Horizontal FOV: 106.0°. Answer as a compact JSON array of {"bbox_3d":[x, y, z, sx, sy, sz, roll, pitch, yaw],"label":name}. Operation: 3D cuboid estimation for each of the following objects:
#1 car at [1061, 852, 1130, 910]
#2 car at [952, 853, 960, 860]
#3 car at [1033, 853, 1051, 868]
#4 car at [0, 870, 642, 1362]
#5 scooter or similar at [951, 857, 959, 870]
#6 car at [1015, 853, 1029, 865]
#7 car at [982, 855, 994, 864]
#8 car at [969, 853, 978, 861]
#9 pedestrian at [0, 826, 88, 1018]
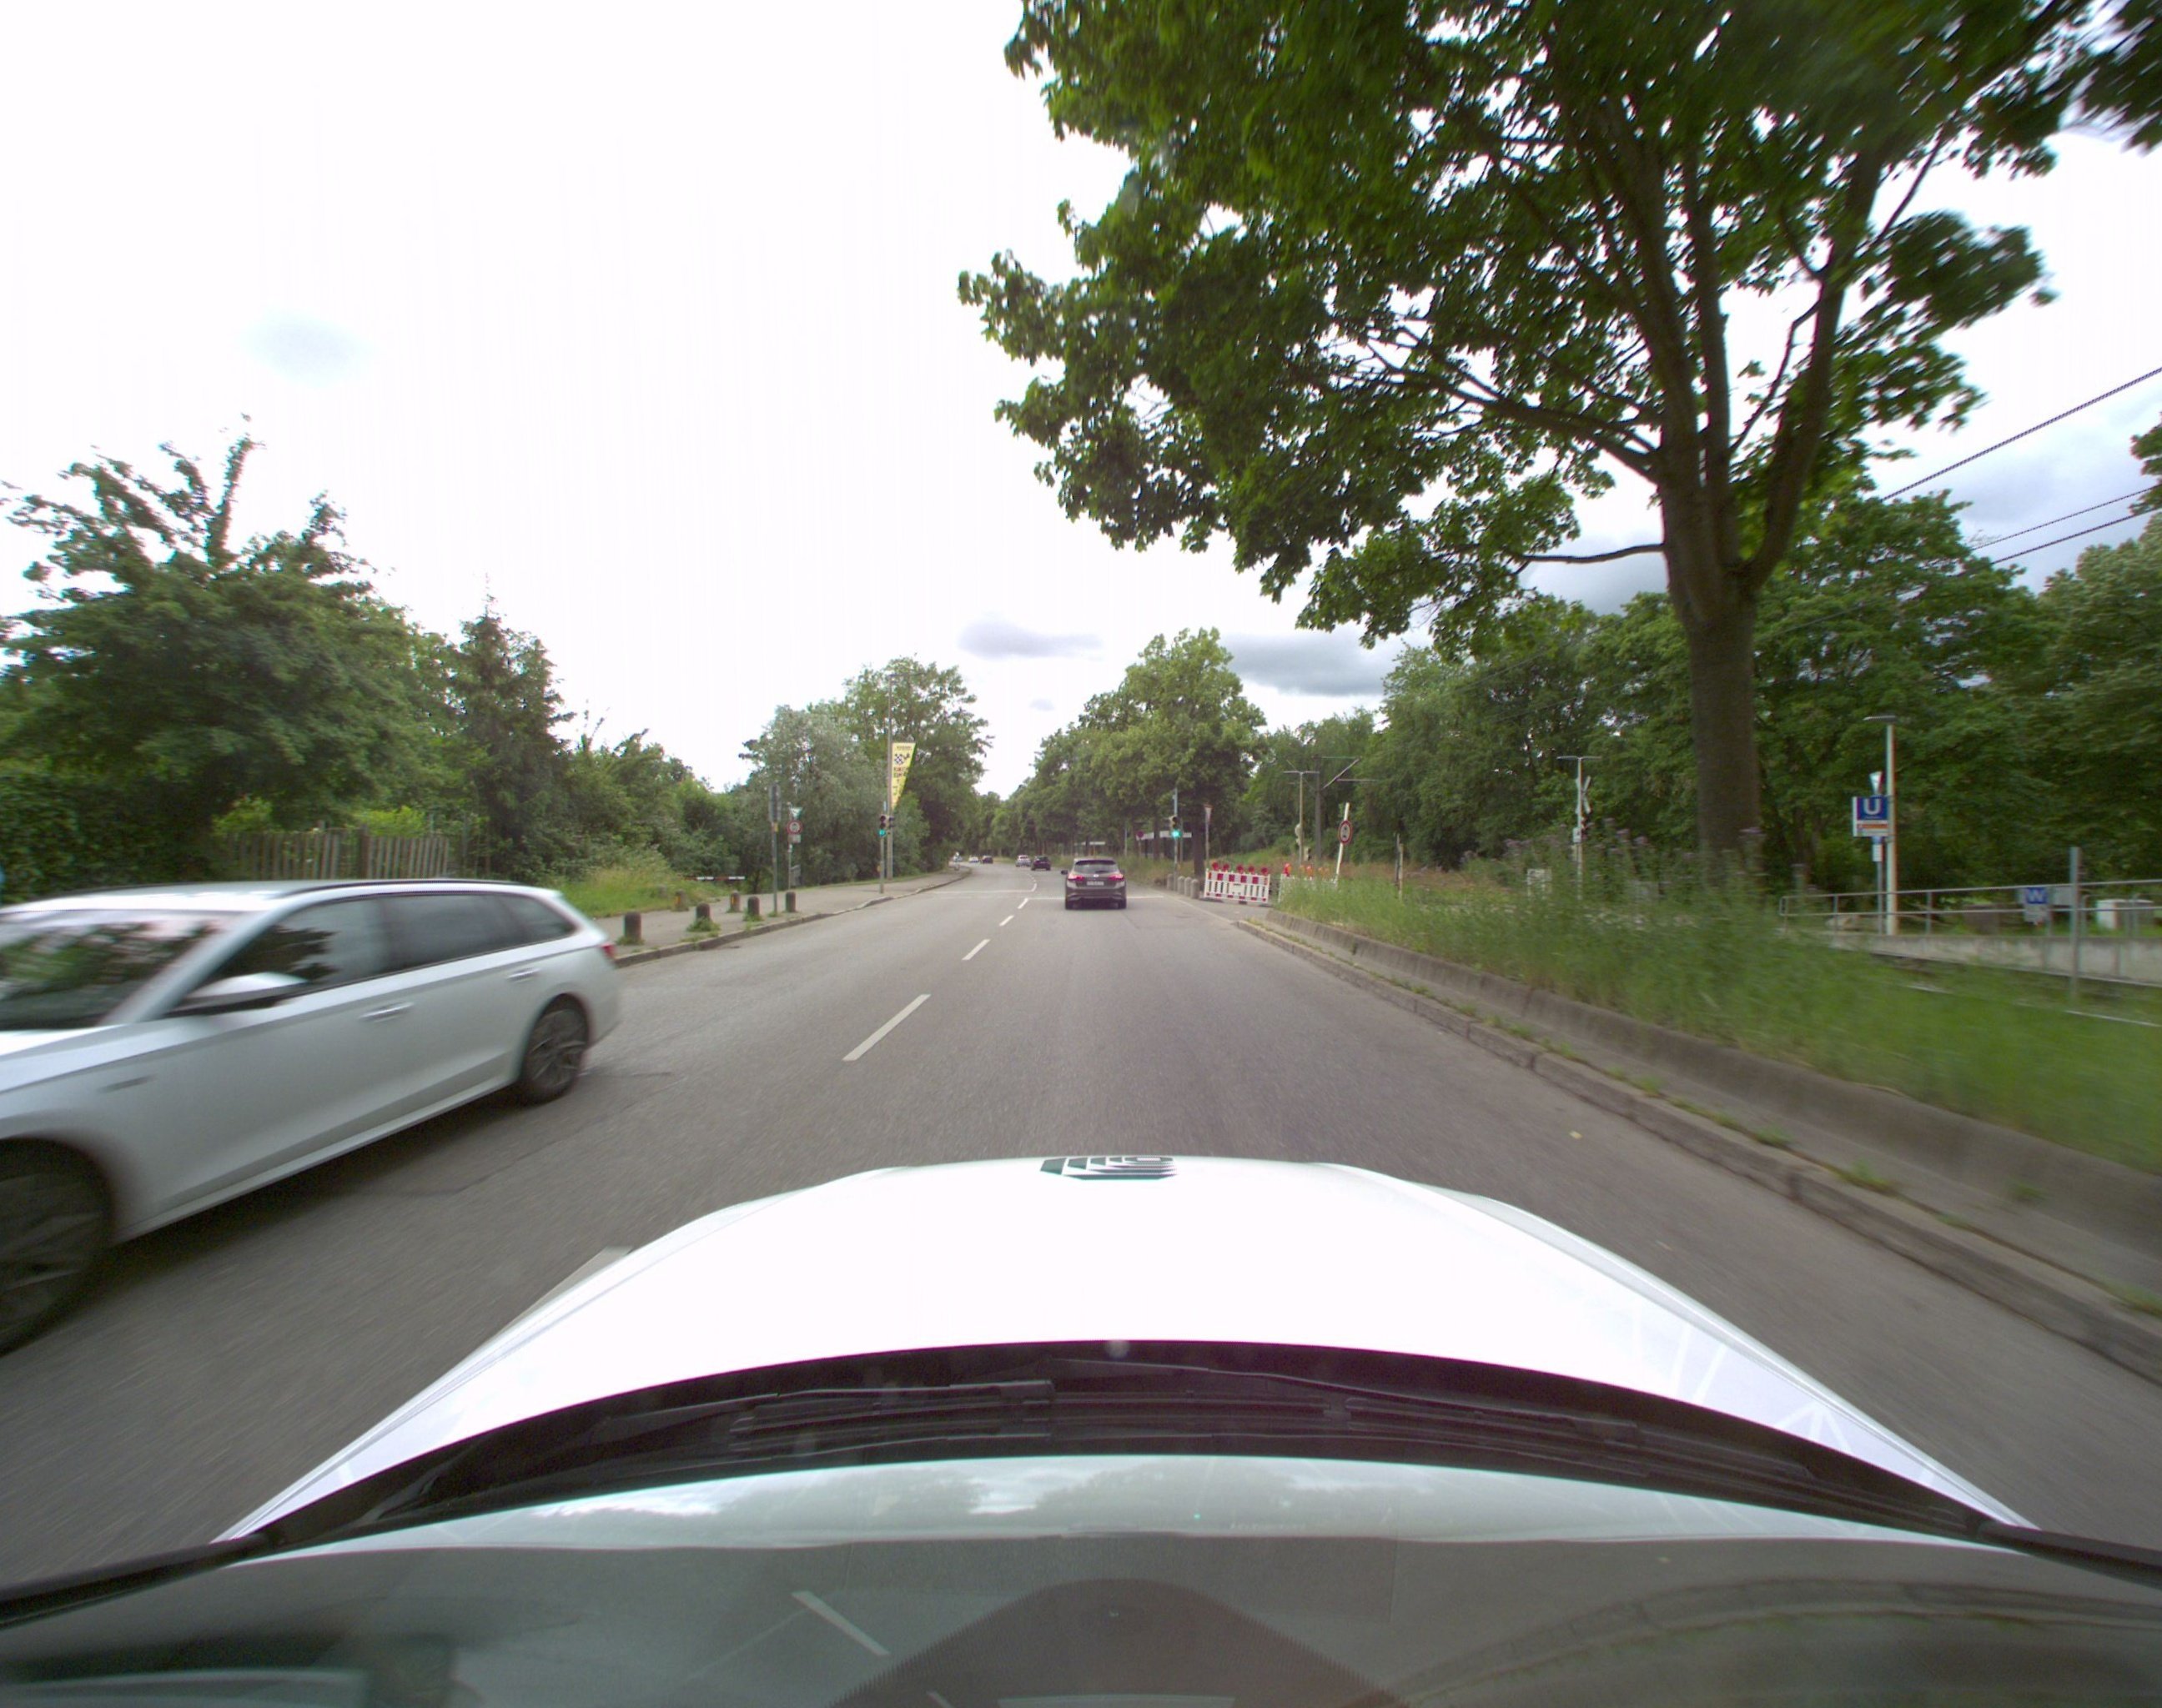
[{"bbox_3d":[0.350,0.738,24.661,1.812,1.508,3.996,-1,1,-3],"label":"car"},{"bbox_3d":[-27.879,0.468,181.849,1.775,1.472,3.988,2,0,-9],"label":"car"},{"bbox_3d":[-3.968,0.651,82.259,1.772,1.472,3.995,2,0,-3],"label":"car"},{"bbox_3d":[-4.202,0.860,3.887,1.767,1.439,4.362,-1,0,1],"label":"car"},{"bbox_3d":[-12.525,0.941,81.011,0.366,1.184,1.286,1,0,-27],"label":"scooter or similar"},{"bbox_3d":[-7.708,0.613,106.991,1.772,1.472,3.995,2,0,-4],"label":"car"},{"bbox_3d":[-16.610,0.953,145.617,1.775,1.472,3.987,3,0,-9],"label":"car"},{"bbox_3d":[-21.300,0.567,161.655,1.774,1.472,3.990,1,1,-7],"label":"car"},{"bbox_3d":[-9.561,0.574,7.114,0.687,1.634,0.838,2,0,2],"label":"pedestrian"}]
